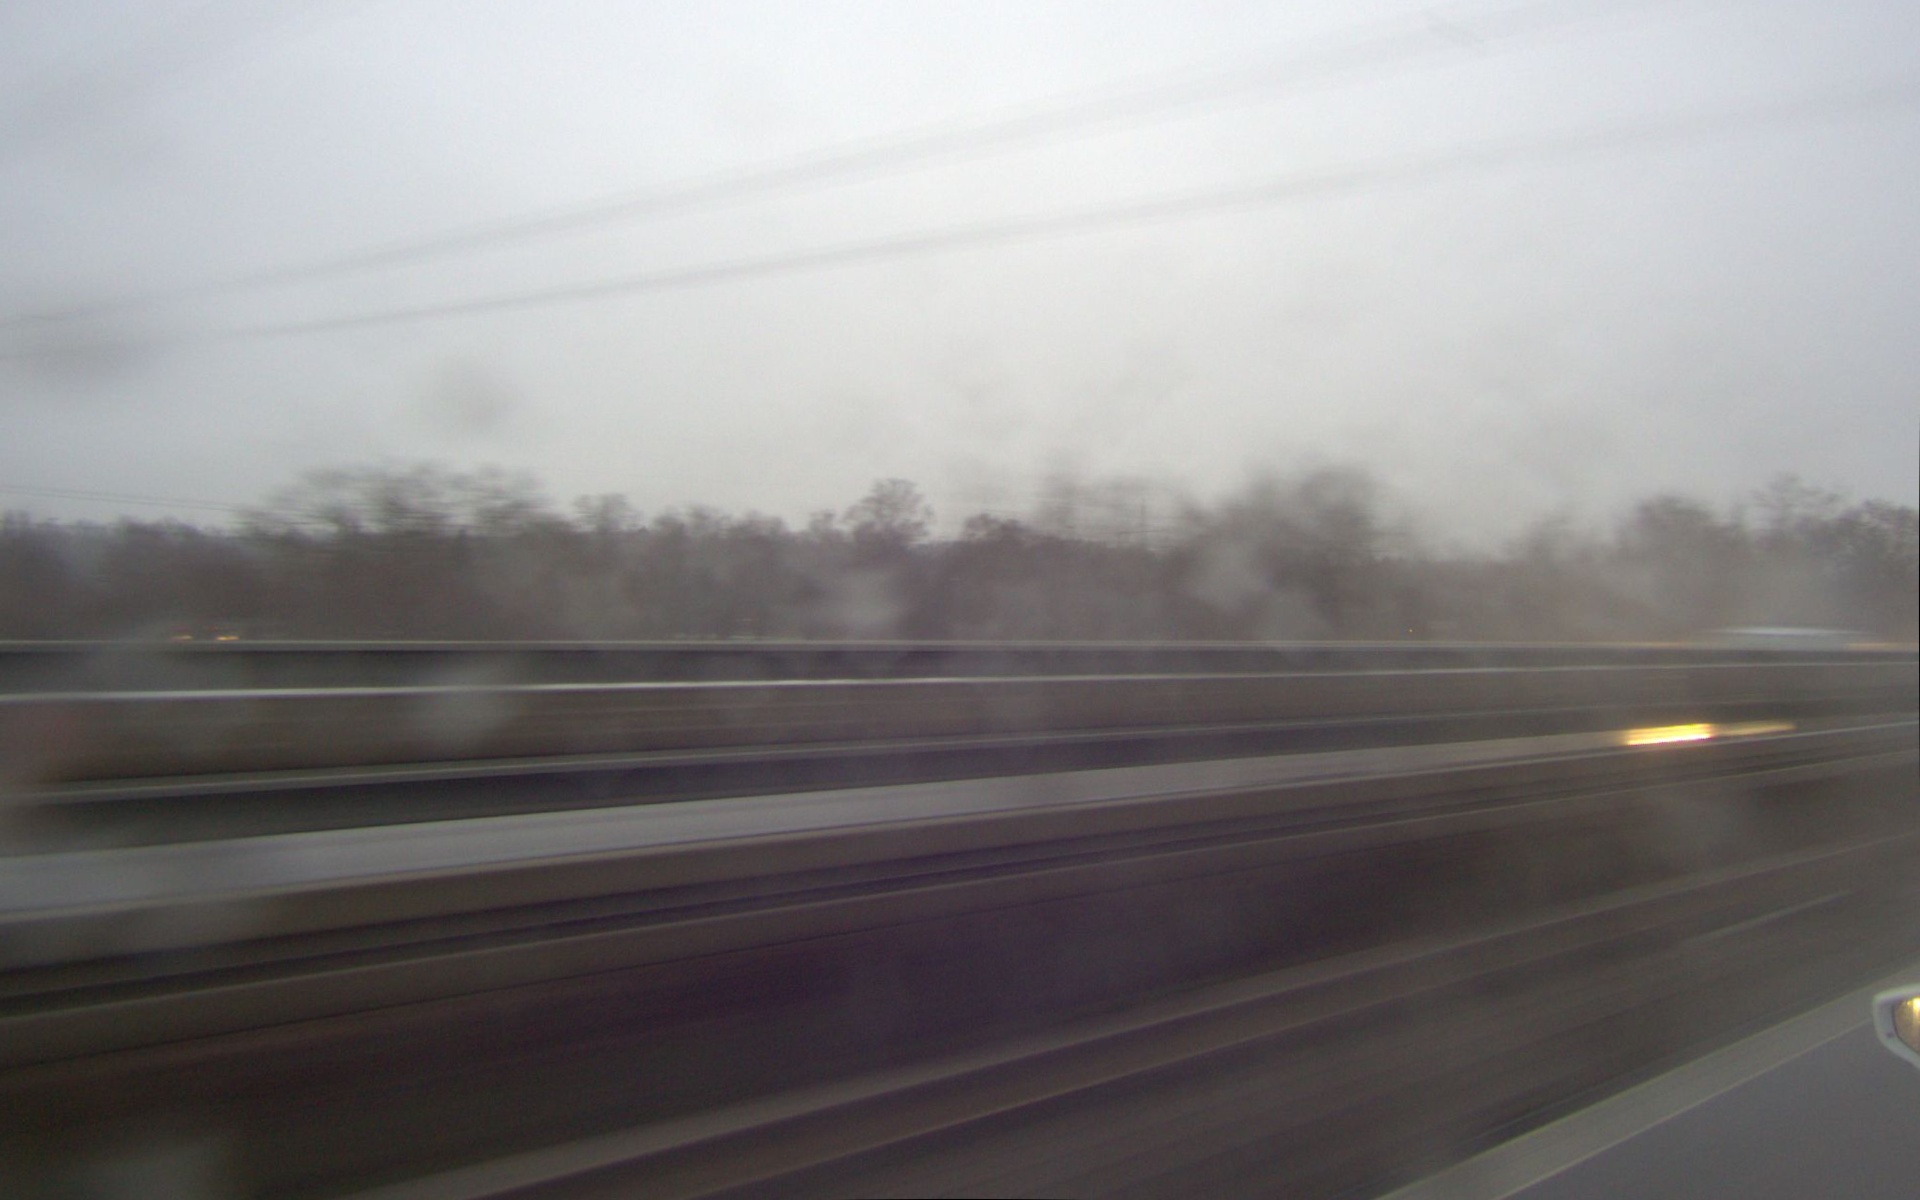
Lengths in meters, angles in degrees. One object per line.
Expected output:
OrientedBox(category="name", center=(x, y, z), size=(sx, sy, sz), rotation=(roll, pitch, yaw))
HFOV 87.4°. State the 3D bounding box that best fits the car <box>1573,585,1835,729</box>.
OrientedBox(category="car", center=(11.928, 0.844, 16.082), size=(3.953, 2.040, 1.984), rotation=(1, 0, -31))
